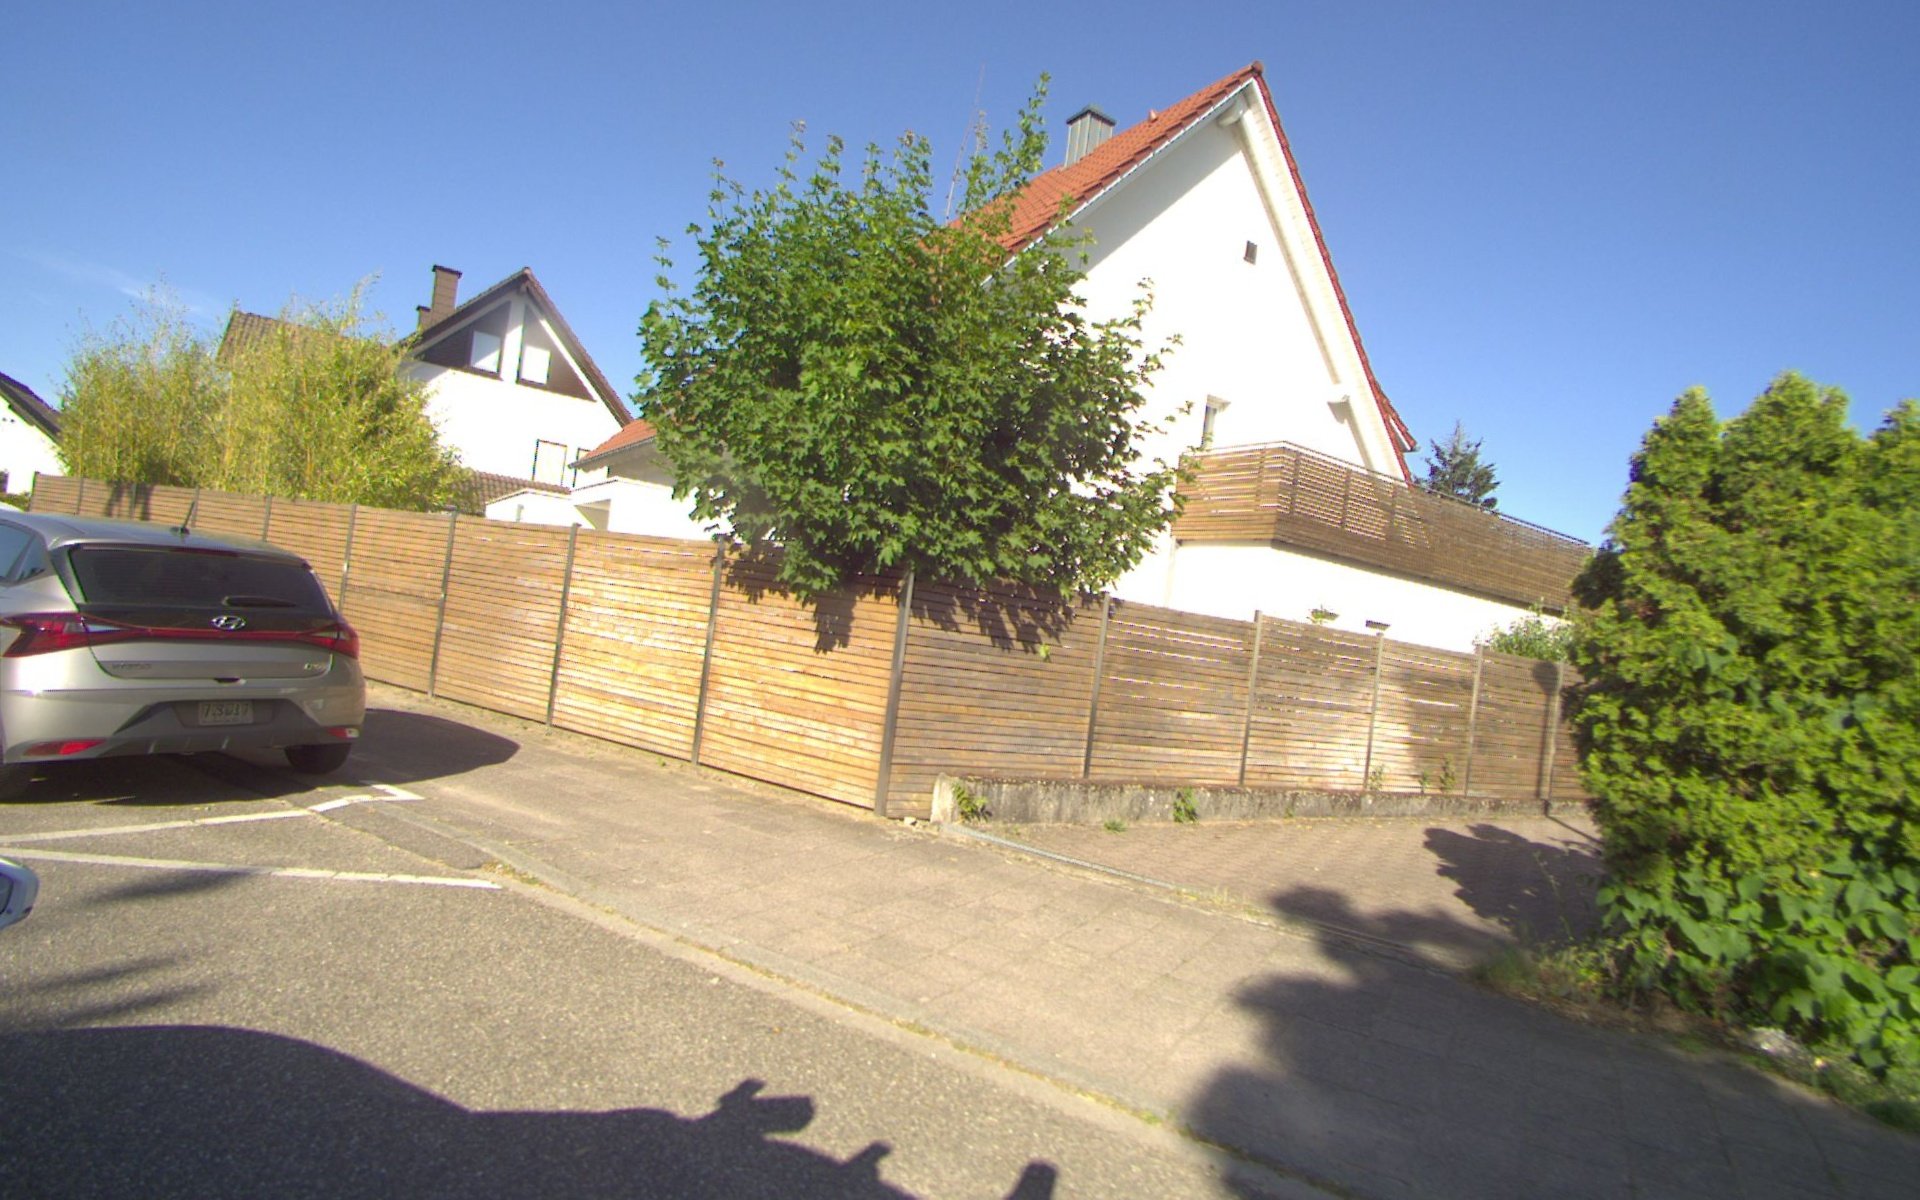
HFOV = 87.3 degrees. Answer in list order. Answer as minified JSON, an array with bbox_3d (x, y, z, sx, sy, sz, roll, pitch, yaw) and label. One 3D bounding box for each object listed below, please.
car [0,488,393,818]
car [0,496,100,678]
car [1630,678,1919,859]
[{"bbox_3d":[-5.518,0.157,6.348,3.825,1.511,1.645,6,-2,32],"label":"car"},{"bbox_3d":[-10.428,-0.333,9.773,3.749,1.618,1.730,7,-3,27],"label":"car"},{"bbox_3d":[10.792,2.160,12.883,4.426,1.769,1.971,8,-2,-32],"label":"car"}]
